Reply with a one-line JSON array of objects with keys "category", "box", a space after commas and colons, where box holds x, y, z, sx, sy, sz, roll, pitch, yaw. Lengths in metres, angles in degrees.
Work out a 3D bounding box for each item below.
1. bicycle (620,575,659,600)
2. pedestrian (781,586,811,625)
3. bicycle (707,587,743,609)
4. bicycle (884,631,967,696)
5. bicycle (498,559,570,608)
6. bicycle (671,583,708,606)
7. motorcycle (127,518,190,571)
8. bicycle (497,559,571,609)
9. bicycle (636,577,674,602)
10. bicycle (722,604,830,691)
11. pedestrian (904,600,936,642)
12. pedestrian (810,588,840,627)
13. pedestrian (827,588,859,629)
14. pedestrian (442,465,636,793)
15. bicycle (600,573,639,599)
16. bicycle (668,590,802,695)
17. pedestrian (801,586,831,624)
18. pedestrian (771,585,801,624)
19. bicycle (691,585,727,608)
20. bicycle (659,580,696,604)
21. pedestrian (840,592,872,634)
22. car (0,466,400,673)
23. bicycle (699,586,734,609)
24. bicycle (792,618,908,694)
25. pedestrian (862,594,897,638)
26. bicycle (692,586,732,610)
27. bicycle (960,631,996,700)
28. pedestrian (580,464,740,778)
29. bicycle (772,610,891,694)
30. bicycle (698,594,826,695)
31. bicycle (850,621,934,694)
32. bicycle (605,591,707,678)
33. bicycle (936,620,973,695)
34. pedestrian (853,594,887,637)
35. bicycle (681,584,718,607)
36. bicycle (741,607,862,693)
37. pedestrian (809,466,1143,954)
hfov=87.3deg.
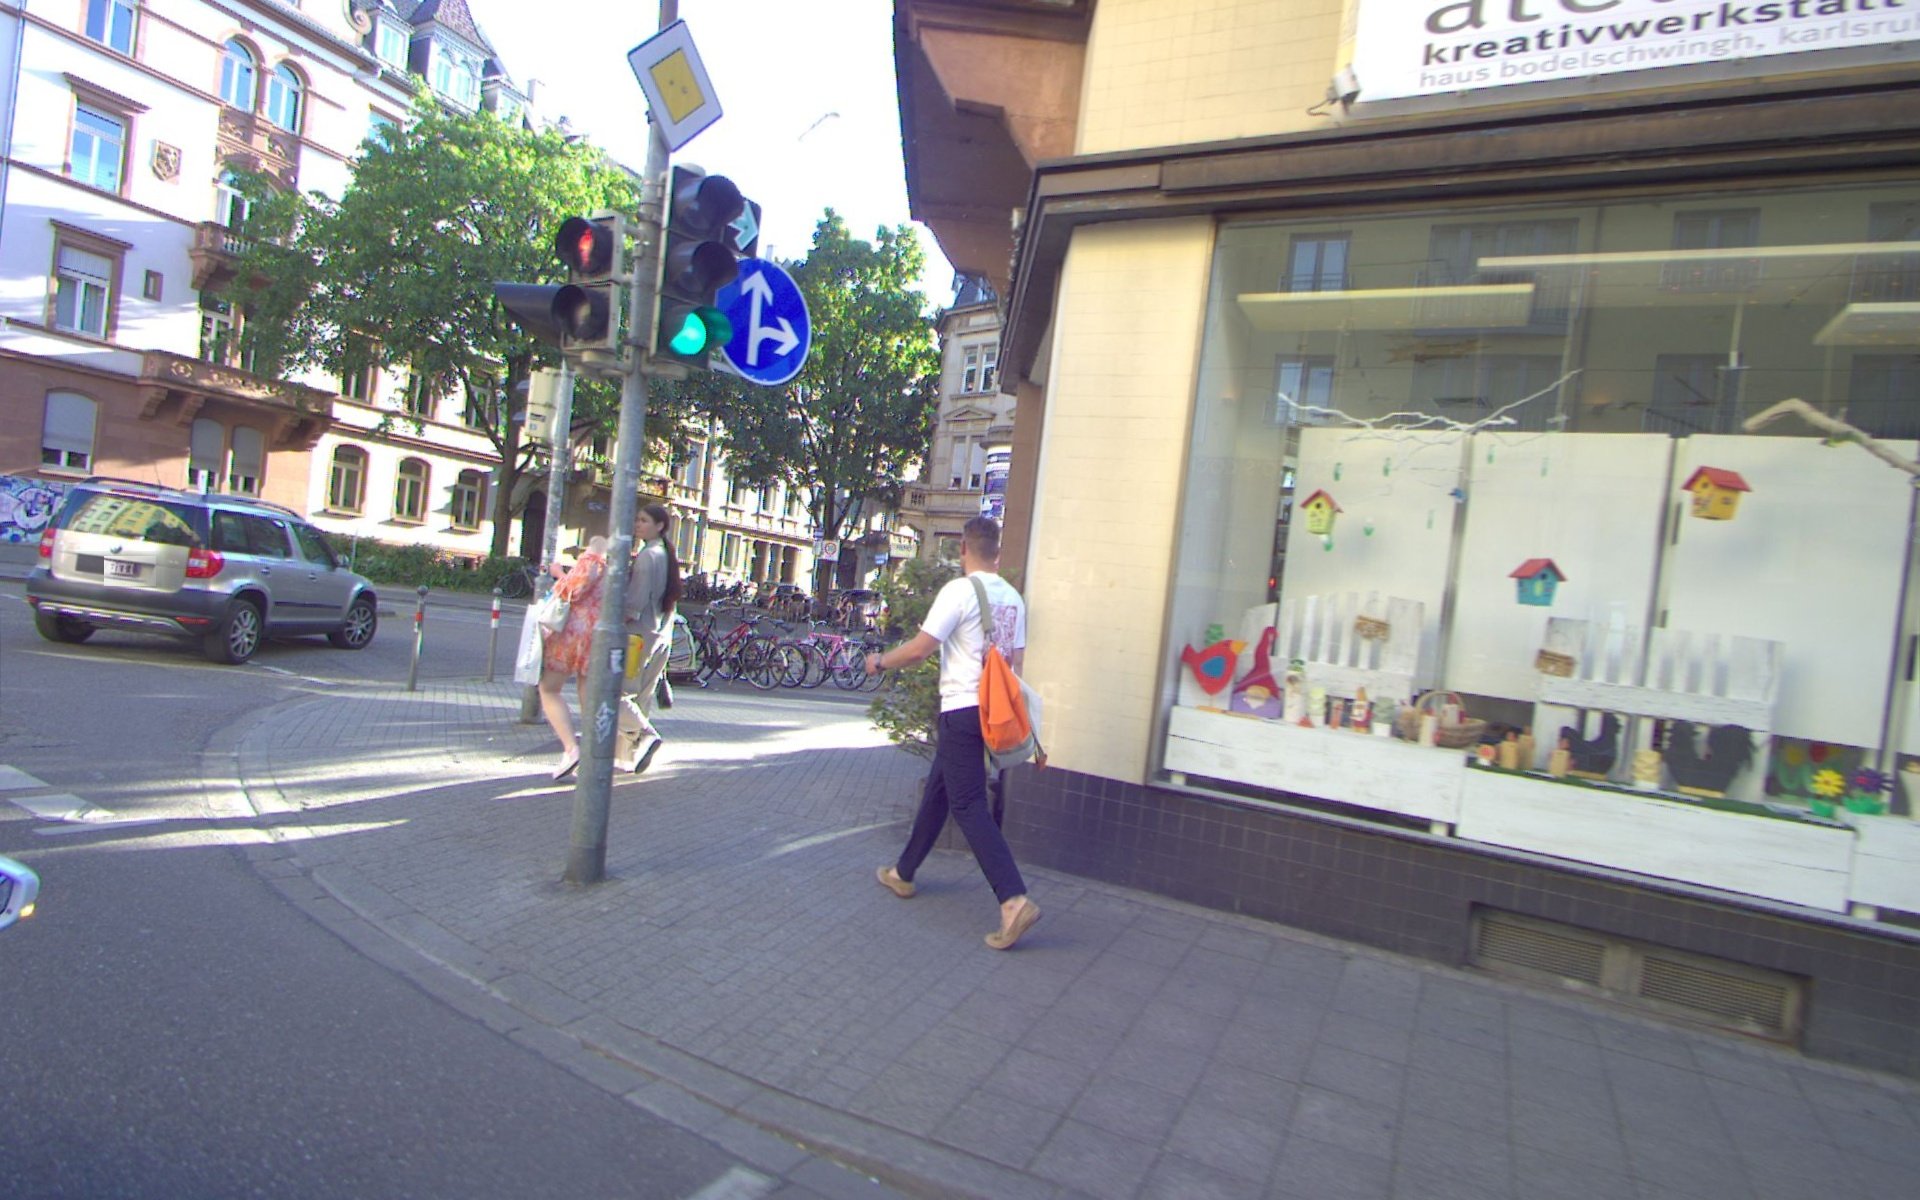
[{"category": "bicycle", "box": [-14.114, -0.533, 44.270, 1.767, 0.904, 0.492, 7, 1, 30]}, {"category": "pedestrian", "box": [-6.393, 0.224, 39.155, 0.904, 1.448, 0.760, 2, 3, -29]}, {"category": "bicycle", "box": [-11.586, -0.089, 49.592, 1.767, 0.904, 0.492, 7, 1, 30]}, {"category": "bicycle", "box": [-0.600, 1.065, 17.057, 1.385, 0.961, 0.448, 5, 0, 40]}, {"category": "bicycle", "box": [-12.445, -0.474, 29.412, 1.841, 1.176, 0.556, 7, 2, -25]}, {"category": "bicycle", "box": [-12.710, -0.261, 47.311, 1.767, 0.904, 0.492, 7, 1, 30]}, {"category": "motorcycle", "box": [-20.075, -1.399, 25.163, 2.253, 1.033, 0.718, 10, 2, 39]}, {"category": "bicycle", "box": [-12.208, -0.456, 28.863, 1.841, 1.176, 0.556, 7, 2, -25]}, {"category": "bicycle", "box": [-13.642, -0.463, 45.016, 1.767, 0.904, 0.492, 7, 1, 30]}, {"category": "bicycle", "box": [-2.723, 0.689, 14.811, 1.585, 1.125, 0.449, 5, 0, 32]}, {"category": "pedestrian", "box": [-1.459, 0.764, 36.975, 0.756, 1.448, 0.907, 2, 3, -32]}, {"category": "pedestrian", "box": [-5.316, 0.288, 39.578, 0.904, 1.448, 0.760, 2, 3, -29]}, {"category": "pedestrian", "box": [-4.362, 0.320, 37.577, 0.904, 1.448, 0.759, 2, 3, -30]}, {"category": "pedestrian", "box": [-2.568, 0.147, 6.123, 0.801, 1.826, 0.752, 1, 7, -43]}, {"category": "bicycle", "box": [-14.678, -0.616, 43.361, 1.767, 0.904, 0.492, 7, 1, 30]}, {"category": "bicycle", "box": [-3.118, 0.567, 13.849, 1.889, 1.238, 0.504, 5, 0, 32]}, {"category": "pedestrian", "box": [-5.807, 0.213, 40.616, 0.904, 1.448, 0.759, 2, 3, -30]}, {"category": "pedestrian", "box": [-6.934, 0.177, 40.031, 0.904, 1.448, 0.759, 2, 3, -30]}, {"category": "bicycle", "box": [-12.118, -0.170, 48.525, 1.767, 0.904, 0.492, 7, 1, 30]}, {"category": "bicycle", "box": [-13.022, -0.364, 46.396, 1.767, 0.904, 0.492, 7, 1, 30]}, {"category": "pedestrian", "box": [-3.799, 0.484, 36.725, 0.904, 1.448, 0.760, 2, 3, -29]}, {"category": "car", "box": [-8.256, -0.310, 11.250, 1.966, 1.638, 3.994, 9, 0, -8]}, {"category": "bicycle", "box": [-11.865, -0.132, 48.988, 1.767, 0.904, 0.492, 7, 1, 30]}, {"category": "bicycle", "box": [-1.774, 0.881, 16.072, 1.889, 1.012, 0.449, 5, 0, 32]}, {"category": "pedestrian", "box": [-2.802, 0.570, 35.086, 0.904, 1.448, 0.760, 2, 3, -29]}, {"category": "bicycle", "box": [-11.551, -0.093, 46.864, 0.486, 0.904, 1.788, 7, 0, 42]}, {"category": "bicycle", "box": [0.332, 1.113, 17.473, 0.442, 1.099, 1.405, 5, -1, 5]}, {"category": "pedestrian", "box": [-1.987, 0.117, 6.638, 0.687, 1.936, 0.662, 1, 7, -43]}, {"category": "bicycle", "box": [-2.022, 0.794, 15.676, 1.889, 1.113, 0.449, 5, 0, 32]}, {"category": "bicycle", "box": [-2.833, 0.609, 14.282, 1.889, 1.238, 0.449, 5, 0, 32]}, {"category": "bicycle", "box": [-1.146, 0.945, 16.678, 1.385, 1.055, 0.448, 5, 0, 40]}, {"category": "bicycle", "box": [-4.099, 0.469, 13.584, 1.047, 1.057, 0.777, 5, -1, 37]}, {"category": "bicycle", "box": [-0.084, 0.999, 17.774, 0.442, 1.238, 1.405, 5, -1, 5]}, {"category": "pedestrian", "box": [-3.193, 0.536, 35.705, 0.904, 1.448, 0.759, 2, 3, -30]}, {"category": "bicycle", "box": [-12.421, -0.217, 47.922, 1.767, 0.904, 0.492, 7, 1, 30]}, {"category": "bicycle", "box": [-2.415, 0.740, 15.226, 1.889, 1.112, 0.449, 5, 0, 32]}, {"category": "pedestrian", "box": [0.078, 0.399, 4.421, 1.072, 1.826, 0.805, 7, 5, 26]}]
